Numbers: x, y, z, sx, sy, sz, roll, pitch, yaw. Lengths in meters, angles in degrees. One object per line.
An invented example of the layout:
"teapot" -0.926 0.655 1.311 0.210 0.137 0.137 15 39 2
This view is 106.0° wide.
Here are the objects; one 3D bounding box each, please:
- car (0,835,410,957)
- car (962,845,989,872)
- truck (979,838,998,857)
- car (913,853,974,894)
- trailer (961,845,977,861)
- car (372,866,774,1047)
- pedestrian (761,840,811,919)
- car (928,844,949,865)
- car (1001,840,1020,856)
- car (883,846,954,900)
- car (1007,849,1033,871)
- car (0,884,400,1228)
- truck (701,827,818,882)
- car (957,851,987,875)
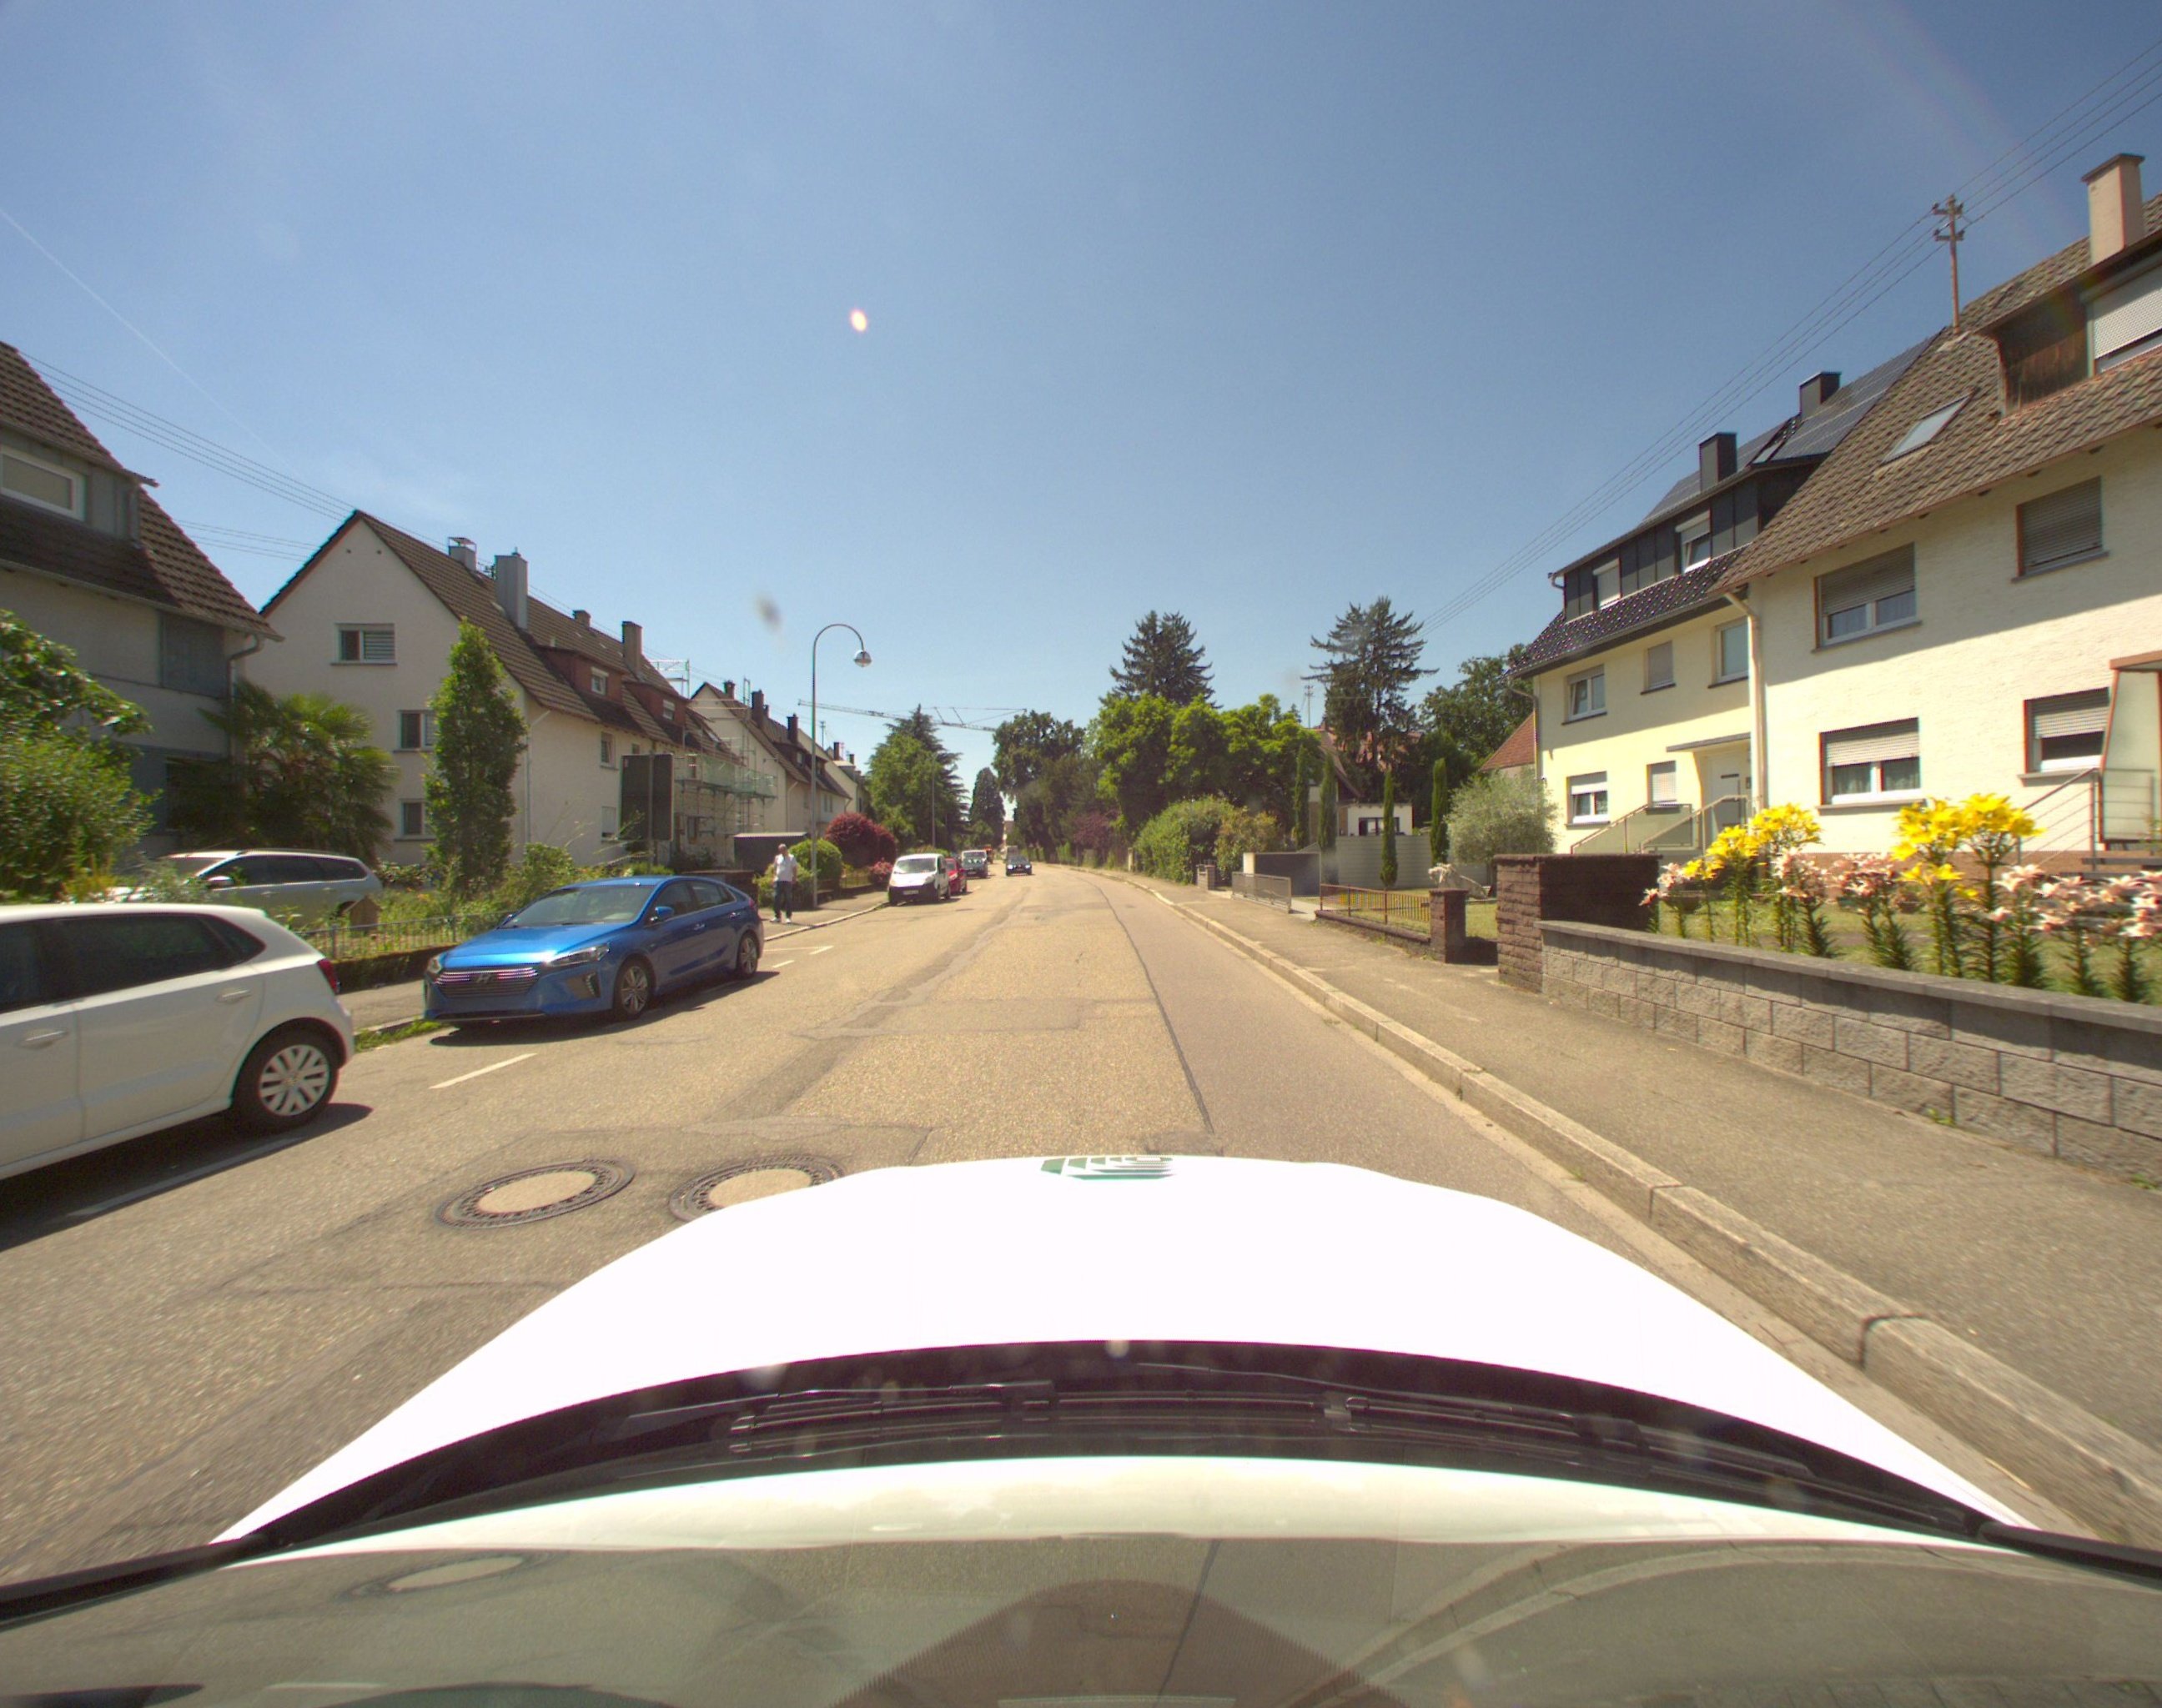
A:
"car" -12.905 0.605 12.319 1.762 1.508 4.362 0 -2 1
"car" -7.947 0.316 61.505 1.884 1.881 4.969 -2 0 -7
"truck" -14.347 -0.996 126.357 2.375 2.830 5.636 -2 0 -12
"car" -5.652 0.752 33.874 1.755 1.477 4.057 -3 0 0
"trailer" -15.693 -0.099 114.158 1.848 2.040 4.148 -3 0 -11
"car" -5.344 0.941 9.426 1.763 1.439 4.363 -3 0 1
"pedestrian" -7.380 0.628 20.403 0.686 1.889 1.020 4 -1 4
"car" -12.889 0.014 73.752 1.646 1.752 4.343 -3 0 -7
"car" -10.593 -0.903 122.432 2.146 2.315 4.831 -3 1 -13
"car" -5.657 0.616 28.766 1.718 1.736 3.885 -2 0 -1
"car" -4.263 0.420 57.486 1.728 1.417 3.995 -3 0 -4
"car" -5.585 0.983 3.668 1.573 1.423 3.942 -3 0 1
"truck" -12.183 -0.004 31.015 3.759 1.937 1.545 -2 0 -3
"car" -7.133 0.579 53.541 1.696 1.384 4.227 -3 1 -5
